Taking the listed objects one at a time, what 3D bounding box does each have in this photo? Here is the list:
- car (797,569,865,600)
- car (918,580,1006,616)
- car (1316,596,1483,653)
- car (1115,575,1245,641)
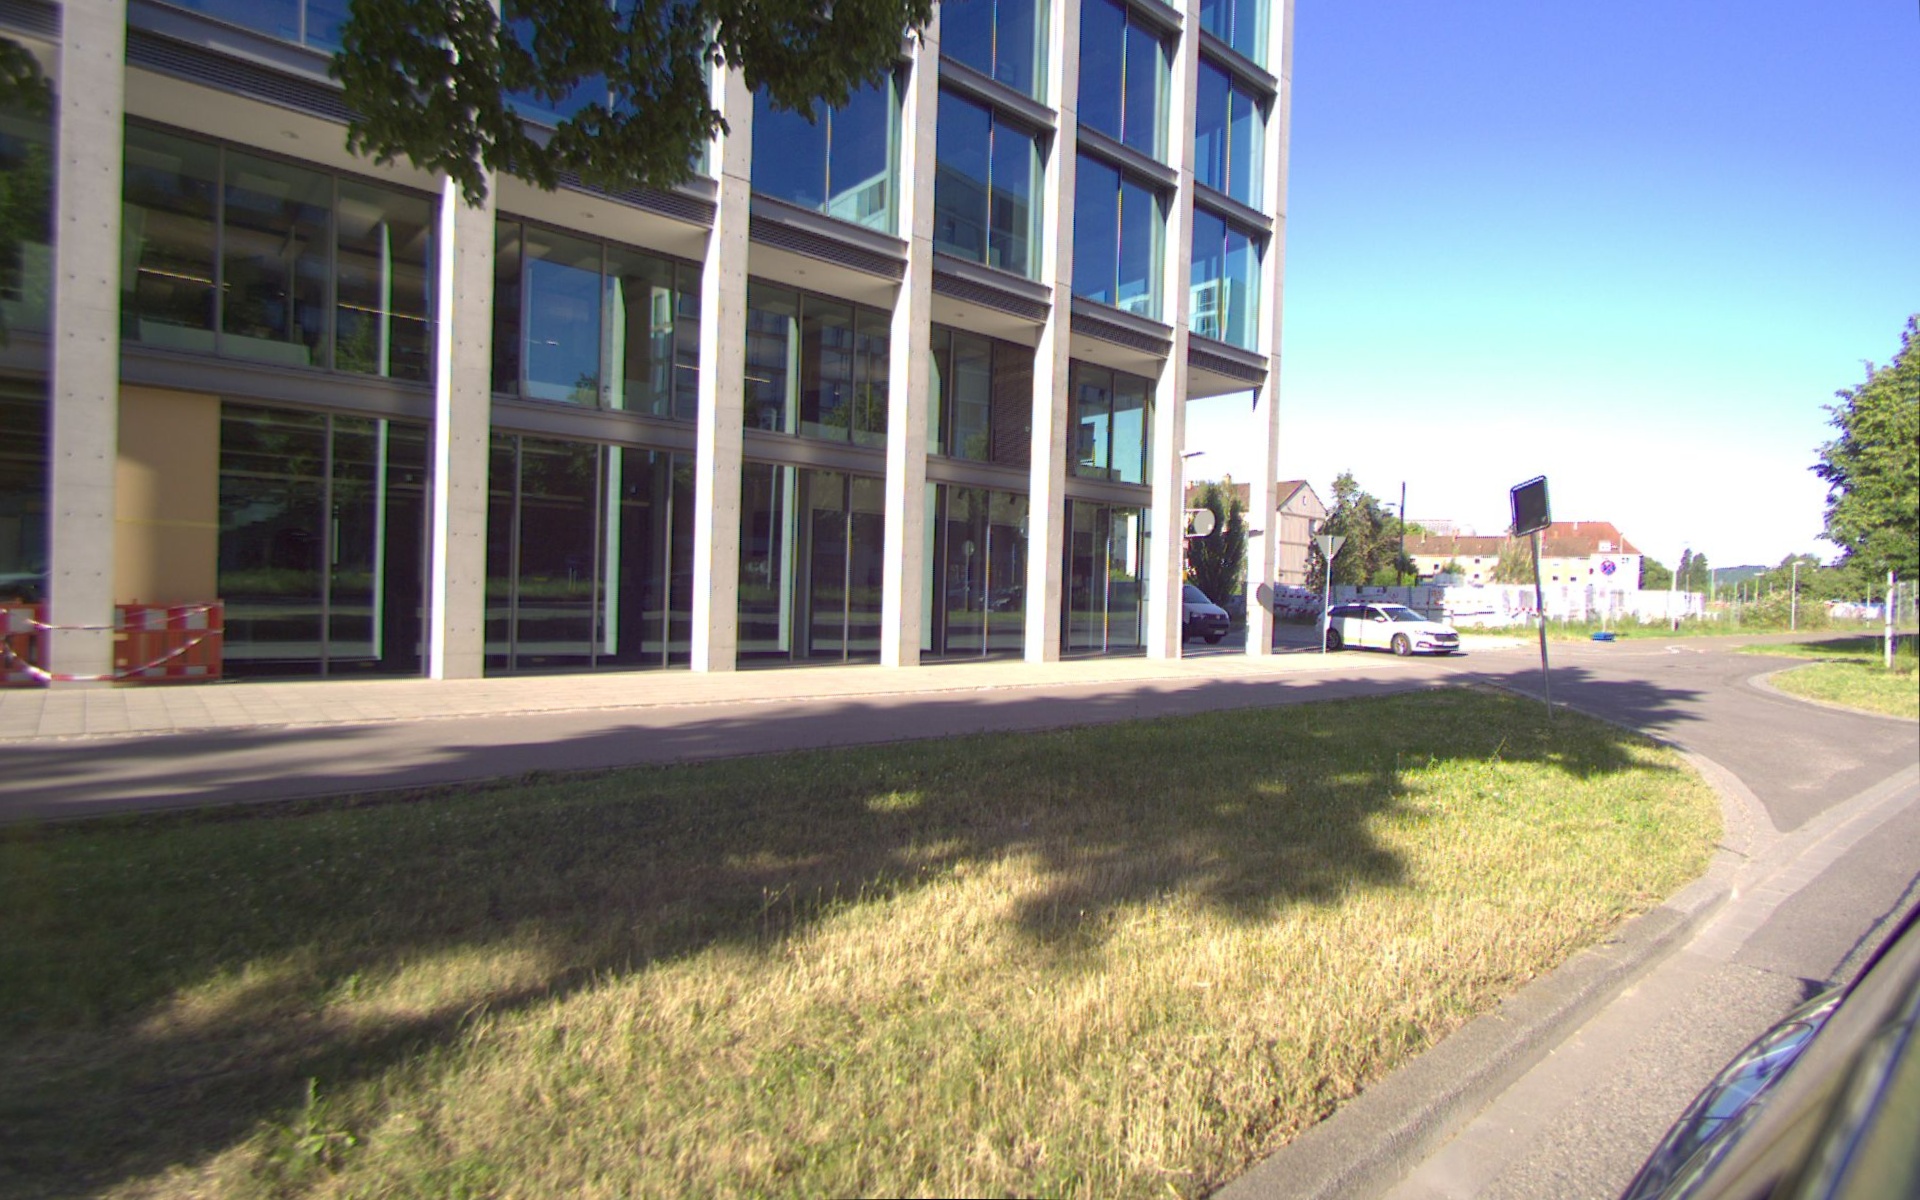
[{"bbox_3d":[-8.122,-0.976,63.745,3.928,1.872,1.675,1,1,-40],"label":"car"},{"bbox_3d":[0.111,-0.096,49.544,3.930,1.635,1.997,0,1,-41],"label":"car"},{"bbox_3d":[12.893,0.664,30.011,1.737,1.410,4.537,-1,2,-24],"label":"car"},{"bbox_3d":[7.233,0.202,33.851,1.897,2.006,5.095,1,1,-18],"label":"car"}]
